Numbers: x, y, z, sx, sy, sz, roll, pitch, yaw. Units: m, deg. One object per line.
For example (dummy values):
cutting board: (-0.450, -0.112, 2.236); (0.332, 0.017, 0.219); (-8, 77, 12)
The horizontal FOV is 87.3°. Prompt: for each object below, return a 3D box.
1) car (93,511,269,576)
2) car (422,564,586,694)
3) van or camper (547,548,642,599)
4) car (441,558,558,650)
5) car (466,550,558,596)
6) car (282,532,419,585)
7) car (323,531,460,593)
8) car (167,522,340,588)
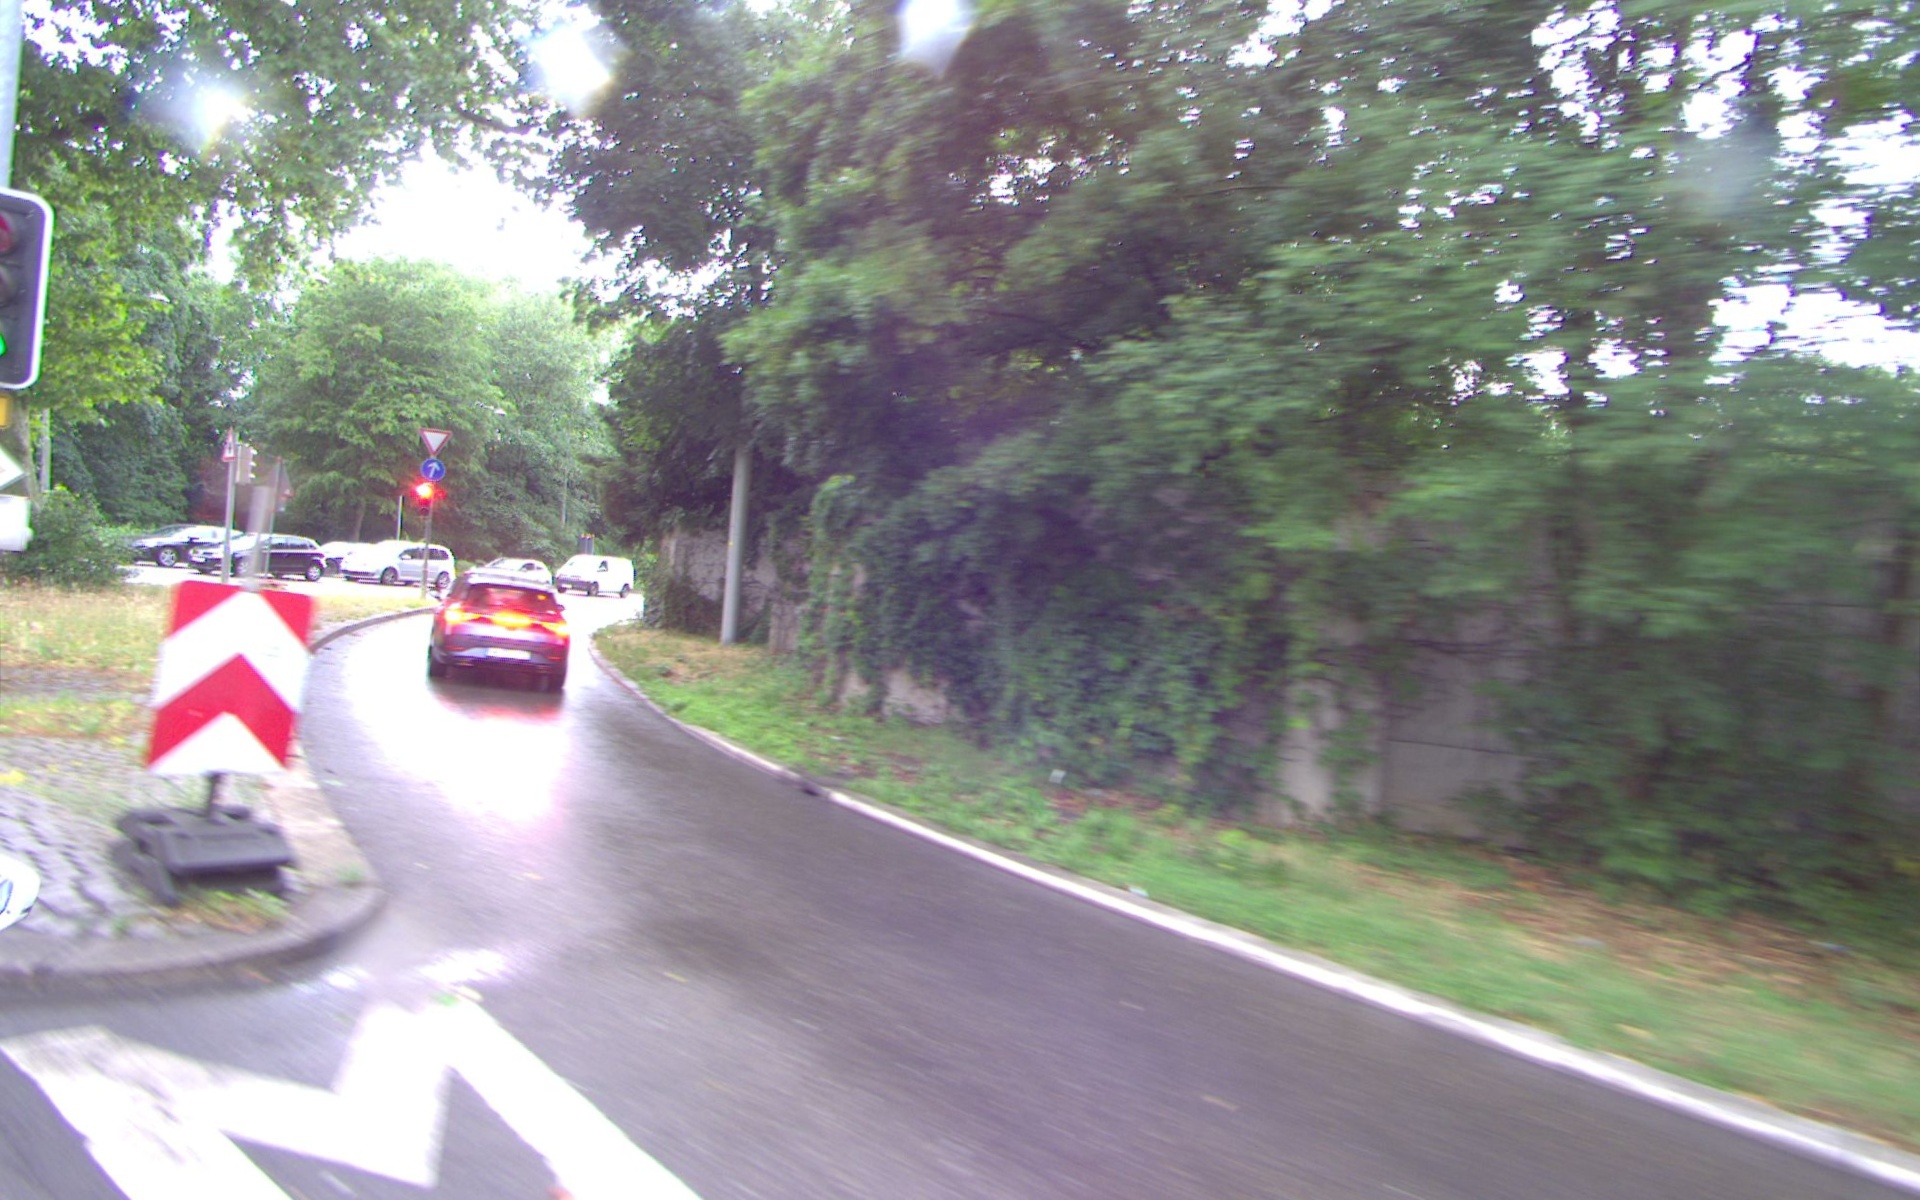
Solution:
car: (-25.709, -1.805, 33.404); (1.913, 1.457, 4.218); (6, -2, 16)
car: (-6.775, 0.331, 14.677); (1.735, 1.418, 4.384); (9, -3, -28)
van or camper: (-18.117, -1.275, 50.170); (1.871, 1.970, 4.869); (6, -1, 15)
car: (-9.779, 0.030, 21.328); (1.838, 1.464, 4.590); (11, -3, -25)
car: (-19.537, -1.135, 44.052); (1.626, 1.478, 3.869); (7, -2, 12)
car: (-23.813, -1.569, 39.532); (1.795, 1.418, 4.452); (6, -2, 16)
car: (-21.104, -1.368, 37.537); (1.871, 1.699, 4.215); (6, -2, 16)
car: (-22.314, -1.368, 31.981); (1.759, 1.477, 4.205); (6, -2, 16)
